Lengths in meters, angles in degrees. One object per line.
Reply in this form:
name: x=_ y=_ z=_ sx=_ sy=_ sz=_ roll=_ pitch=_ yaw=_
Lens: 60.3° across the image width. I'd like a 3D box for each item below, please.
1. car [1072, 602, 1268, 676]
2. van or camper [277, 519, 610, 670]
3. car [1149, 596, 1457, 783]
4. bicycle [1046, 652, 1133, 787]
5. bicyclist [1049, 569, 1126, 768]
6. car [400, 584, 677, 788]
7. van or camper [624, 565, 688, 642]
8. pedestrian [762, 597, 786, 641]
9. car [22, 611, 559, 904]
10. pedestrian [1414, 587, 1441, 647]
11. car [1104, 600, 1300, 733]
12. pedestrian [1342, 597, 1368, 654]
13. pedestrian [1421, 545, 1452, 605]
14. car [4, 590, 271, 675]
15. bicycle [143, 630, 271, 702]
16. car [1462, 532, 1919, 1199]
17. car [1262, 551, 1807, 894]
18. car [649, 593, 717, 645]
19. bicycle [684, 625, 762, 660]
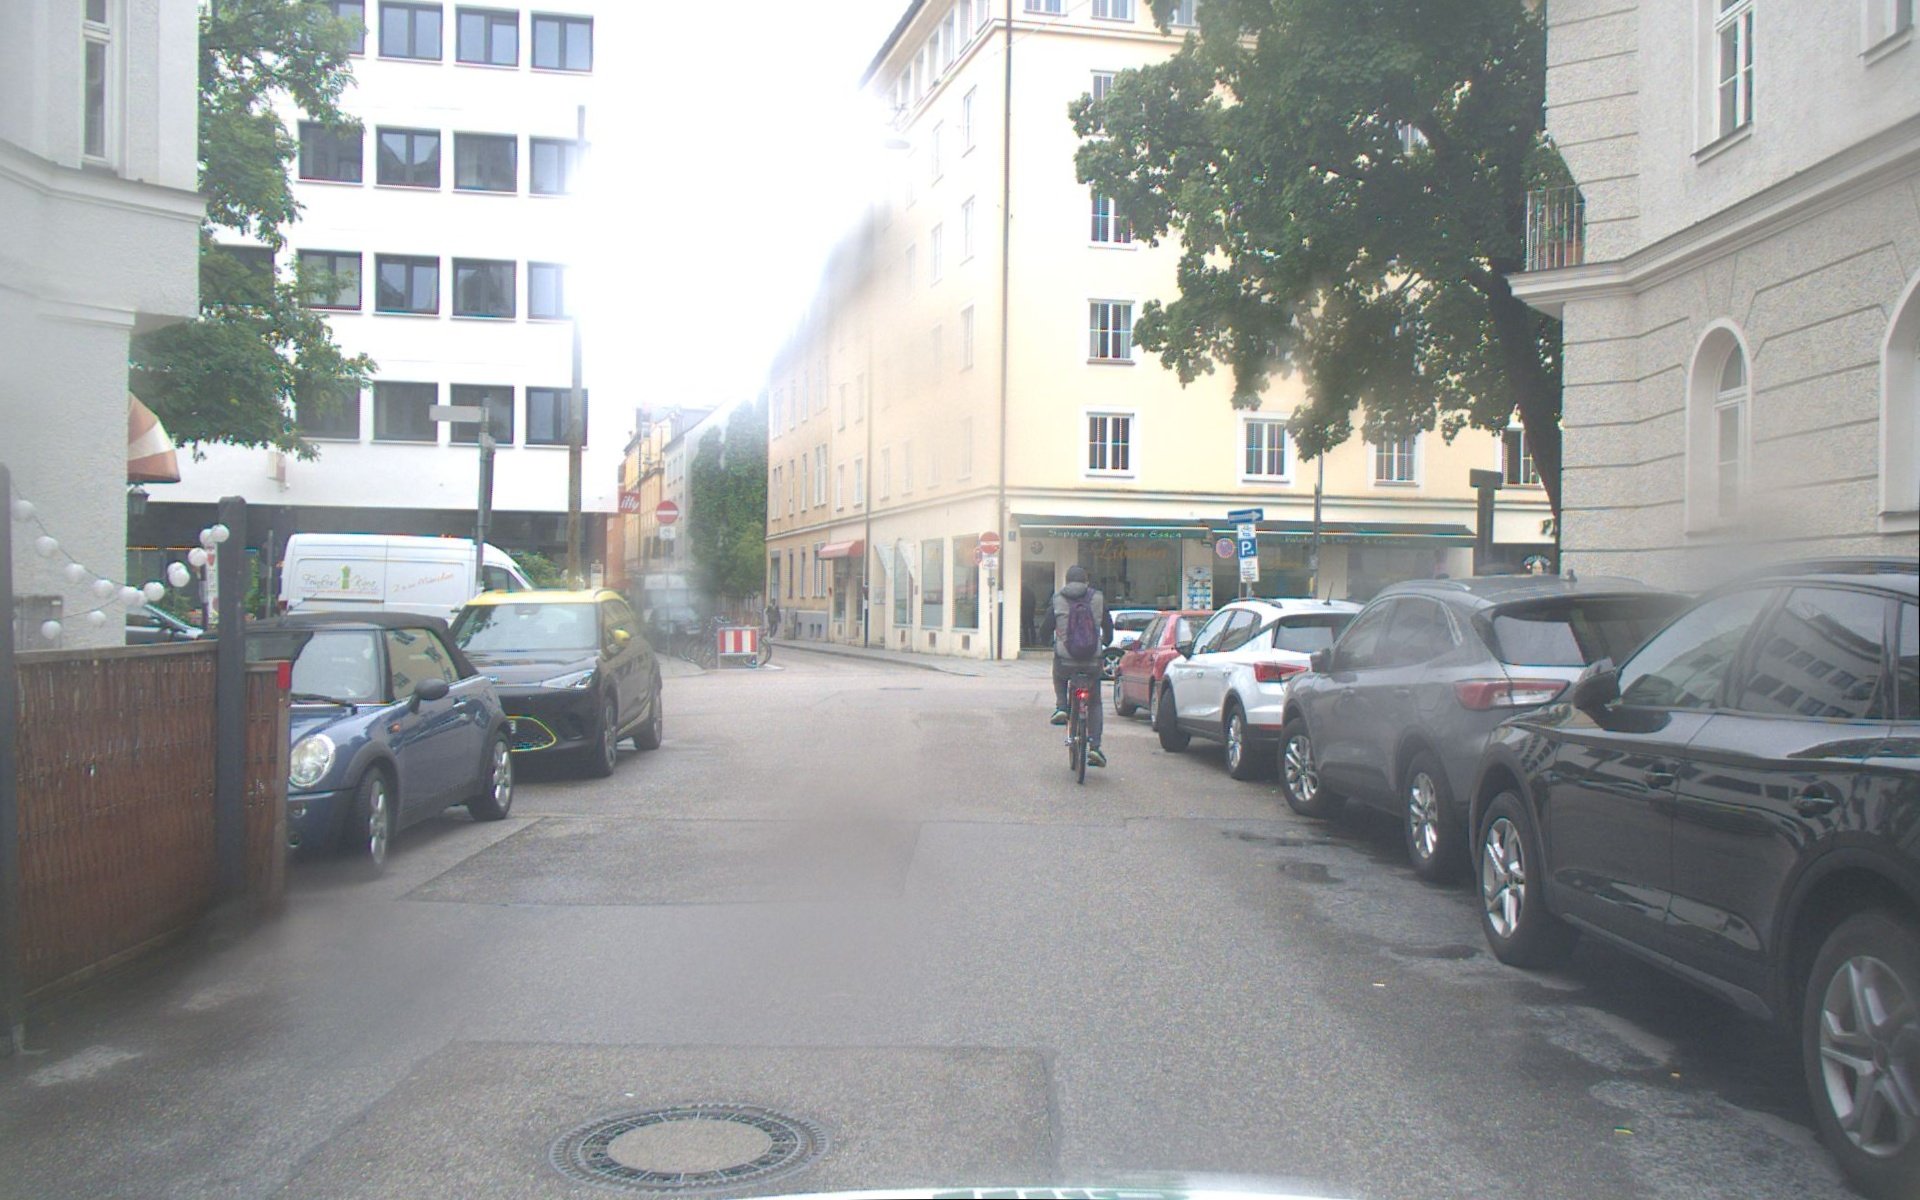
car: x=4.424 y=0.850 z=35.201 sx=3.906 sy=1.441 sz=1.820 roll=1 pitch=-4 yaw=-2
van or camper: x=-9.642 y=-0.055 z=31.369 sx=5.799 sy=2.724 sz=1.868 roll=0 pitch=-2 yaw=-12
car: x=3.056 y=0.741 z=15.562 sx=1.716 sy=1.522 sz=3.904 roll=1 pitch=0 yaw=-6
bicycle: x=1.073 y=0.977 z=13.950 sx=0.626 sy=1.022 sz=1.574 roll=0 pitch=0 yaw=1
bicyclist: x=1.074 y=0.560 z=14.011 sx=0.593 sy=1.635 sz=0.757 roll=0 pitch=0 yaw=0
car: x=-3.775 y=0.706 z=15.458 sx=1.642 sy=1.625 sz=3.944 roll=-1 pitch=0 yaw=-2
van or camper: x=-10.715 y=0.126 z=58.049 sx=1.959 sy=2.584 sz=4.744 roll=0 pitch=0 yaw=-13
pedestrian: x=-7.758 y=0.788 z=68.959 sx=0.863 sy=1.809 sz=0.771 roll=0 pitch=0 yaw=-14
car: x=-3.858 y=0.808 z=10.328 sx=1.672 sy=1.414 sz=4.000 roll=-1 pitch=0 yaw=0
pedestrian: x=12.444 y=0.443 z=44.026 sx=0.428 sy=1.578 sz=0.529 roll=0 pitch=0 yaw=-30
car: x=2.956 y=0.760 z=21.037 sx=1.636 sy=1.460 sz=4.211 roll=1 pitch=0 yaw=-3
pedestrian: x=10.128 y=0.651 z=42.372 sx=0.502 sy=1.458 sz=0.582 roll=0 pitch=0 yaw=29
pedestrian: x=12.875 y=-0.667 z=44.684 sx=0.542 sy=1.602 sz=0.576 roll=2 pitch=-1 yaw=-13
car: x=-14.742 y=0.615 z=29.873 sx=3.985 sy=1.454 sz=1.792 roll=1 pitch=-3 yaw=-15
bicycle: x=-10.440 y=0.923 z=22.926 sx=1.541 sy=0.964 sz=0.890 roll=2 pitch=-2 yaw=-29
car: x=3.237 y=0.682 z=5.503 sx=1.741 sy=1.664 sz=4.375 roll=2 pitch=0 yaw=0
car: x=3.357 y=0.620 z=10.684 sx=1.754 sy=1.743 sz=4.423 roll=0 pitch=0 yaw=-4
car: x=-8.733 y=0.562 z=51.944 sx=1.801 sy=1.562 sz=3.985 roll=0 pitch=0 yaw=-14
bicycle: x=-6.033 y=1.083 z=42.100 sx=1.882 sy=0.878 sz=0.615 roll=0 pitch=0 yaw=-19
